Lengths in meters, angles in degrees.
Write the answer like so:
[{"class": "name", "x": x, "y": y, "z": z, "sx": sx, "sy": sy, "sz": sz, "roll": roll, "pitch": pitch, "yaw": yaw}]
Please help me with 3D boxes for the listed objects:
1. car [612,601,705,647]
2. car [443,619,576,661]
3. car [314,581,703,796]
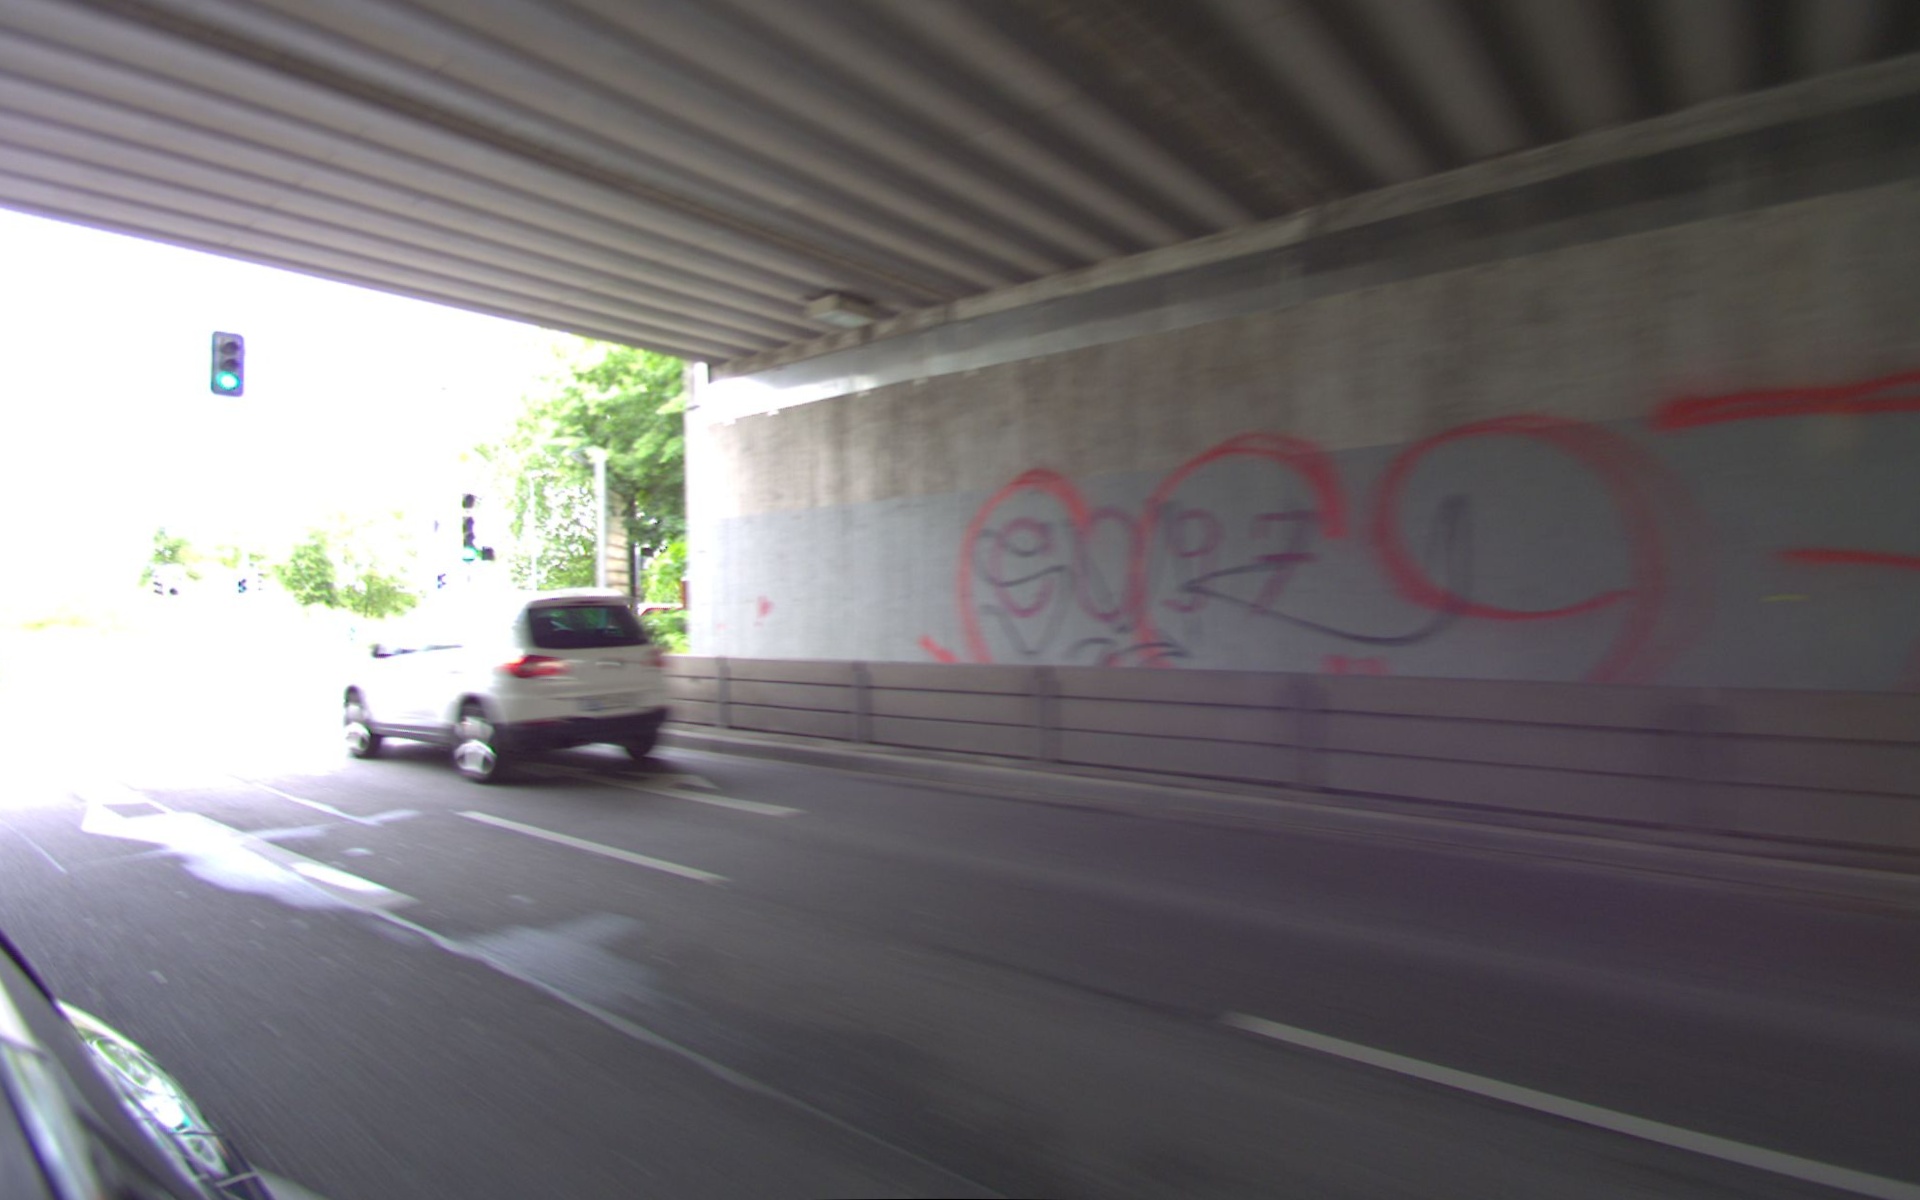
[{"class": "car", "x": -13.406, "y": 1.027, "z": 45.238, "sx": 1.843, "sy": 1.827, "sz": 4.008, "roll": -2, "pitch": 1, "yaw": 23}, {"class": "car", "x": -16.682, "y": 1.445, "z": 37.690, "sx": 1.987, "sy": 1.349, "sz": 4.386, "roll": 0, "pitch": 0, "yaw": 22}, {"class": "car", "x": -4.524, "y": 0.718, "z": 9.890, "sx": 4.103, "sy": 1.672, "sz": 1.766, "roll": -1, "pitch": 0, "yaw": 39}]
